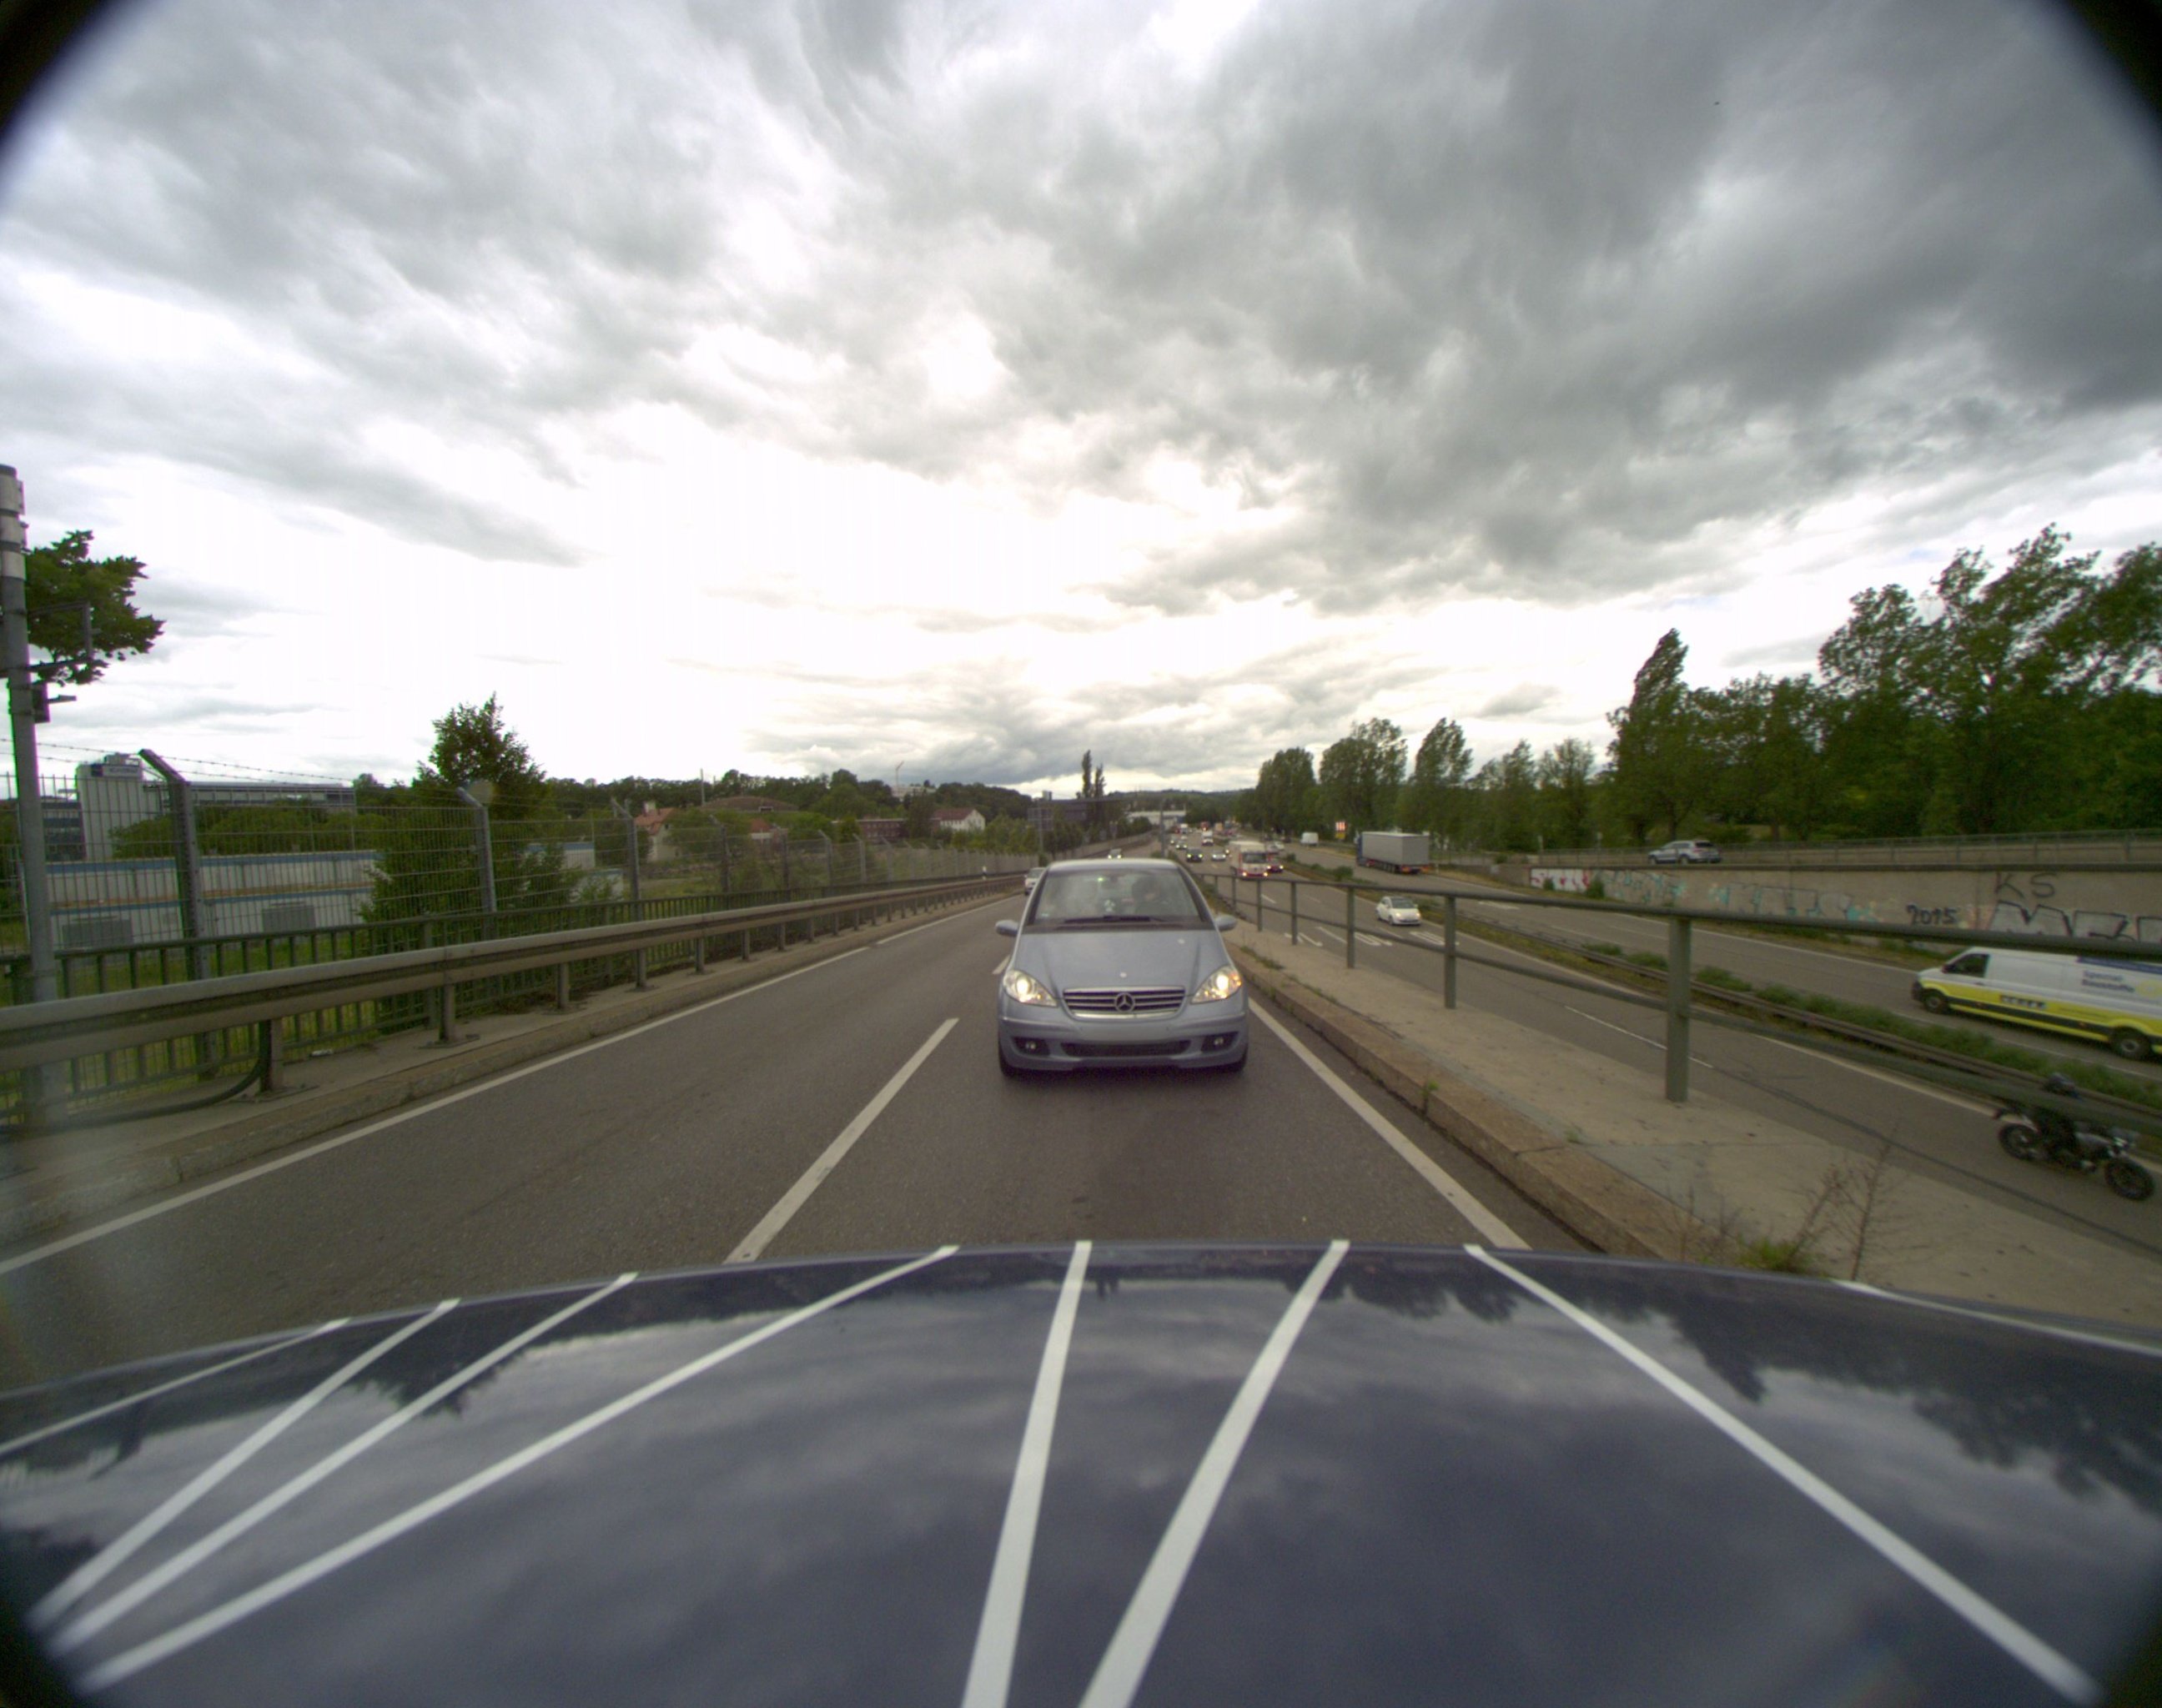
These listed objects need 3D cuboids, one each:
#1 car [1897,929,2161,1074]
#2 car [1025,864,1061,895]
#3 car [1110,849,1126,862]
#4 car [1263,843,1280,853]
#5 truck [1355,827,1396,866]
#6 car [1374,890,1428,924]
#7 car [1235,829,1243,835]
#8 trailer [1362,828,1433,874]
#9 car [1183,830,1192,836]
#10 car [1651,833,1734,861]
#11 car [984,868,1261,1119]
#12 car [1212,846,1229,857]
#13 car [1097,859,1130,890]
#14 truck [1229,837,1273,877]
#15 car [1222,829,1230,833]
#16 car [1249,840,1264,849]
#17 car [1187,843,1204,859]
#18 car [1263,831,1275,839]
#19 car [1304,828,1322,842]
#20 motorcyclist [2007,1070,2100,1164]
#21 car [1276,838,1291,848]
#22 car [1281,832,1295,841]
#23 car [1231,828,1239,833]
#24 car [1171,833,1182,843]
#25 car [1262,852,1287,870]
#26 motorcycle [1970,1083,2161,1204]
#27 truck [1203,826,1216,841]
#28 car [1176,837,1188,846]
[{"bbox_3d":[27.175,3.872,20.995,1.998,2.614,6.711,1,3,2],"label":"car"},{"bbox_3d":[-1.987,1.332,40.592,1.589,1.423,3.443,-2,1,2],"label":"car"},{"bbox_3d":[5.184,0.195,106.184,1.799,1.643,4.153,-2,-1,8],"label":"car"},{"bbox_3d":[30.062,-1.013,119.942,1.998,1.412,3.999,2,3,4],"label":"car"},{"bbox_3d":[34.305,-0.947,88.705,2.793,4.117,5.934,-1,3,4],"label":"truck"},{"bbox_3d":[18.403,3.020,43.798,1.696,1.524,3.607,-1,3,2],"label":"car"},{"bbox_3d":[47.023,-6.543,226.087,1.998,1.412,3.999,-1,3,4],"label":"car"},{"bbox_3d":[33.818,-0.545,81.967,2.793,4.117,13.759,-1,3,4],"label":"trailer"},{"bbox_3d":[28.500,-5.514,203.486,1.769,1.520,3.334,0,3,1],"label":"car"},{"bbox_3d":[39.397,-0.428,49.093,1.897,1.642,4.377,-3,0,1],"label":"car"},{"bbox_3d":[0.298,0.925,6.817,1.743,1.534,3.993,-1,0,1],"label":"car"},{"bbox_3d":[19.122,-0.334,104.292,1.789,1.294,4.151,0,3,2],"label":"car"},{"bbox_3d":[1.887,1.192,45.516,1.830,1.701,4.001,-2,-1,1],"label":"car"},{"bbox_3d":[17.020,0.144,76.735,2.888,3.506,9.870,1,3,4],"label":"truck"},{"bbox_3d":[47.775,-7.544,250.380,1.998,1.412,3.999,-1,3,4],"label":"car"},{"bbox_3d":[31.683,-1.692,137.583,1.998,1.412,3.999,2,3,4],"label":"car"},{"bbox_3d":[15.376,-0.430,102.257,1.997,1.830,4.425,0,3,6],"label":"car"},{"bbox_3d":[47.084,-4.822,190.568,1.886,1.807,4.560,2,3,2],"label":"car"},{"bbox_3d":[45.881,-3.767,150.655,1.998,2.635,5.179,2,3,2],"label":"car"},{"bbox_3d":[16.863,4.546,13.192,0.595,1.364,0.761,-2,3,2],"label":"motorcyclist"},{"bbox_3d":[34.911,-1.906,131.263,1.682,1.412,3.999,0,3,4],"label":"car"},{"bbox_3d":[46.291,-3.864,170.246,1.886,1.807,4.560,2,3,2],"label":"car"},{"bbox_3d":[49.568,-7.507,244.906,1.998,1.412,3.999,-1,3,4],"label":"car"},{"bbox_3d":[20.523,-3.470,163.805,1.998,2.003,3.999,1,3,3],"label":"car"},{"bbox_3d":[21.075,0.709,82.925,1.834,1.570,4.180,-2,4,2],"label":"car"},{"bbox_3d":[16.875,4.912,13.115,0.595,1.197,2.125,-2,3,2],"label":"motorcycle"},{"bbox_3d":[26.920,-4.270,159.569,2.238,2.993,7.231,-1,3,6],"label":"truck"},{"bbox_3d":[18.605,-2.251,140.034,1.828,1.443,4.125,0,3,1],"label":"car"}]
